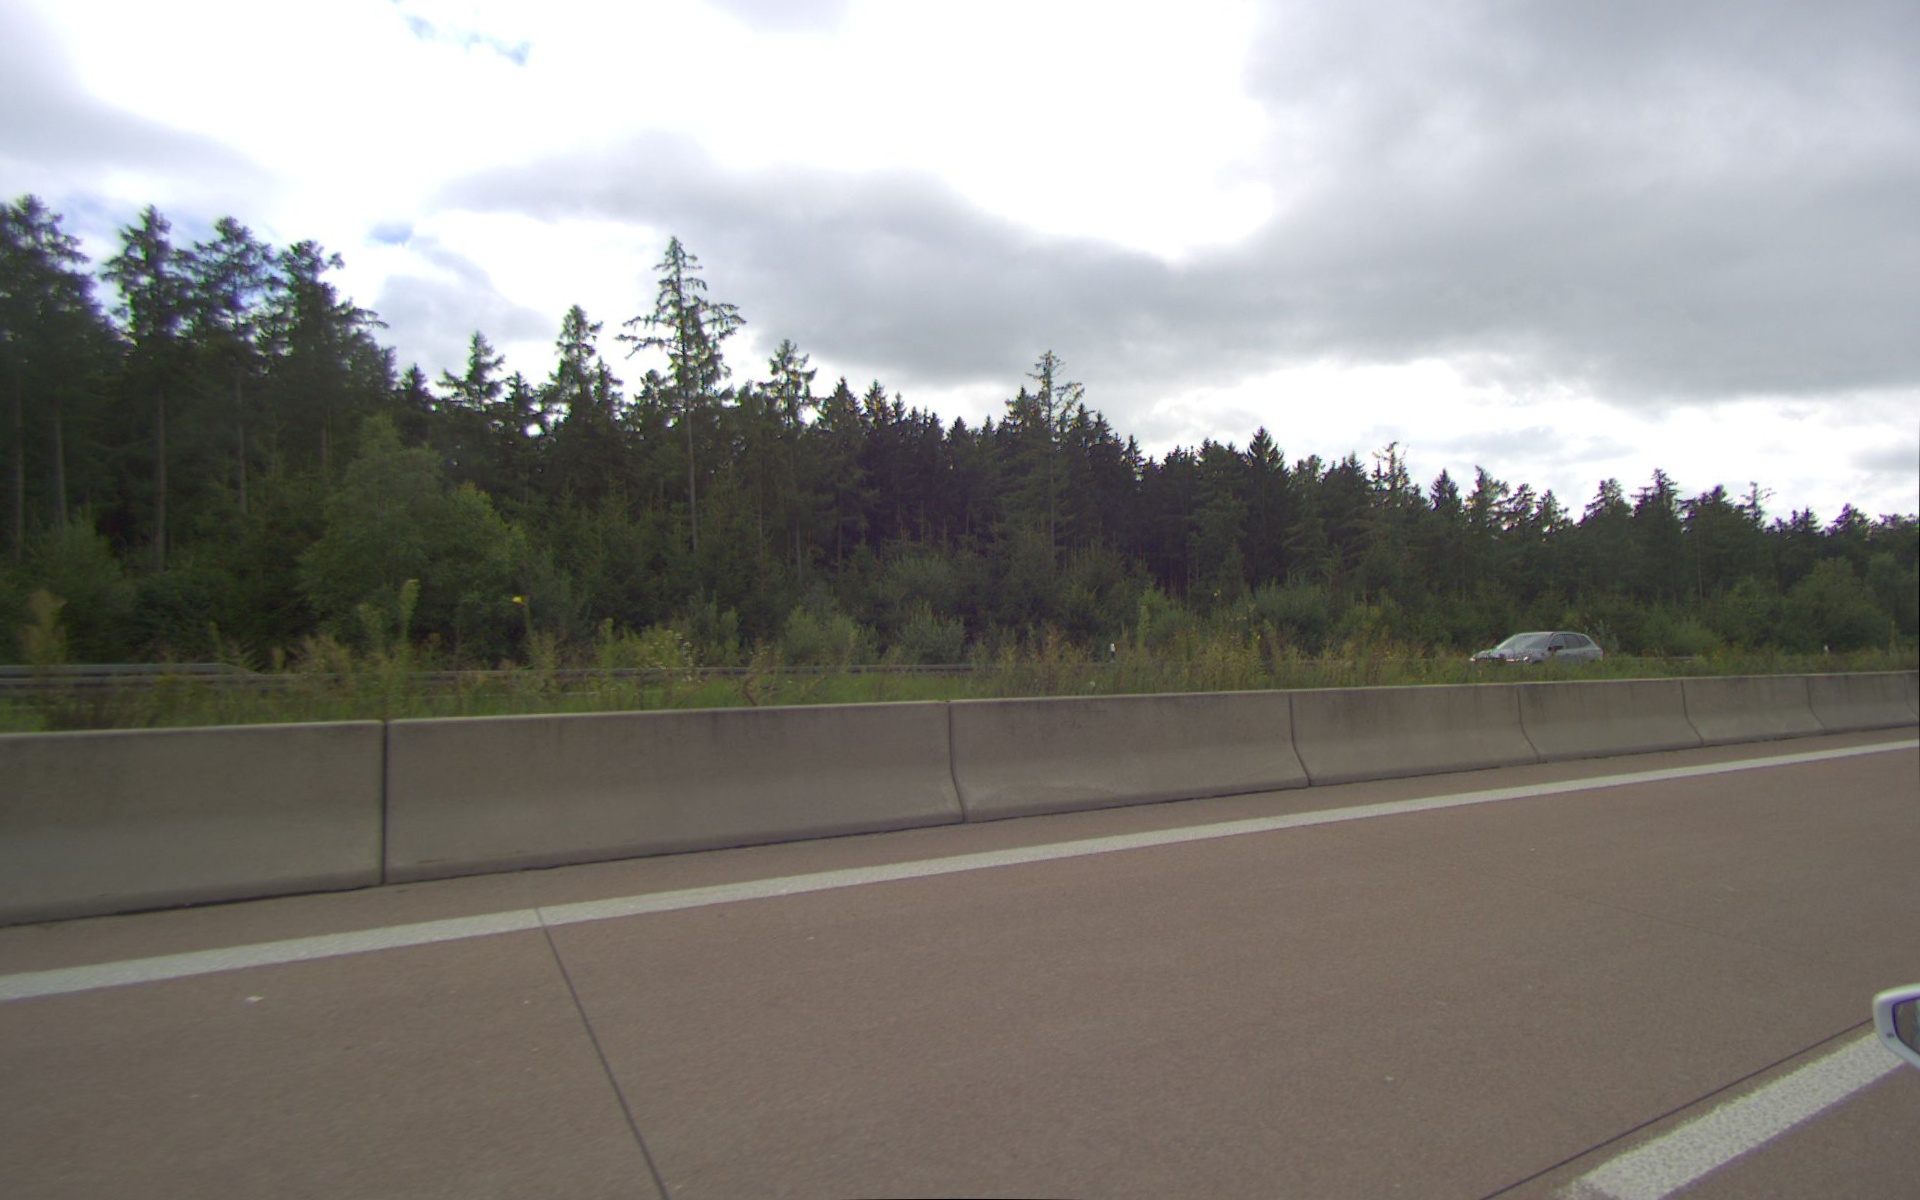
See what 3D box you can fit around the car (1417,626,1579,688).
[{"bbox_3d":[15.794,1.622,29.420,4.829,1.703,1.984,1,-2,-30],"label":"car"}]
